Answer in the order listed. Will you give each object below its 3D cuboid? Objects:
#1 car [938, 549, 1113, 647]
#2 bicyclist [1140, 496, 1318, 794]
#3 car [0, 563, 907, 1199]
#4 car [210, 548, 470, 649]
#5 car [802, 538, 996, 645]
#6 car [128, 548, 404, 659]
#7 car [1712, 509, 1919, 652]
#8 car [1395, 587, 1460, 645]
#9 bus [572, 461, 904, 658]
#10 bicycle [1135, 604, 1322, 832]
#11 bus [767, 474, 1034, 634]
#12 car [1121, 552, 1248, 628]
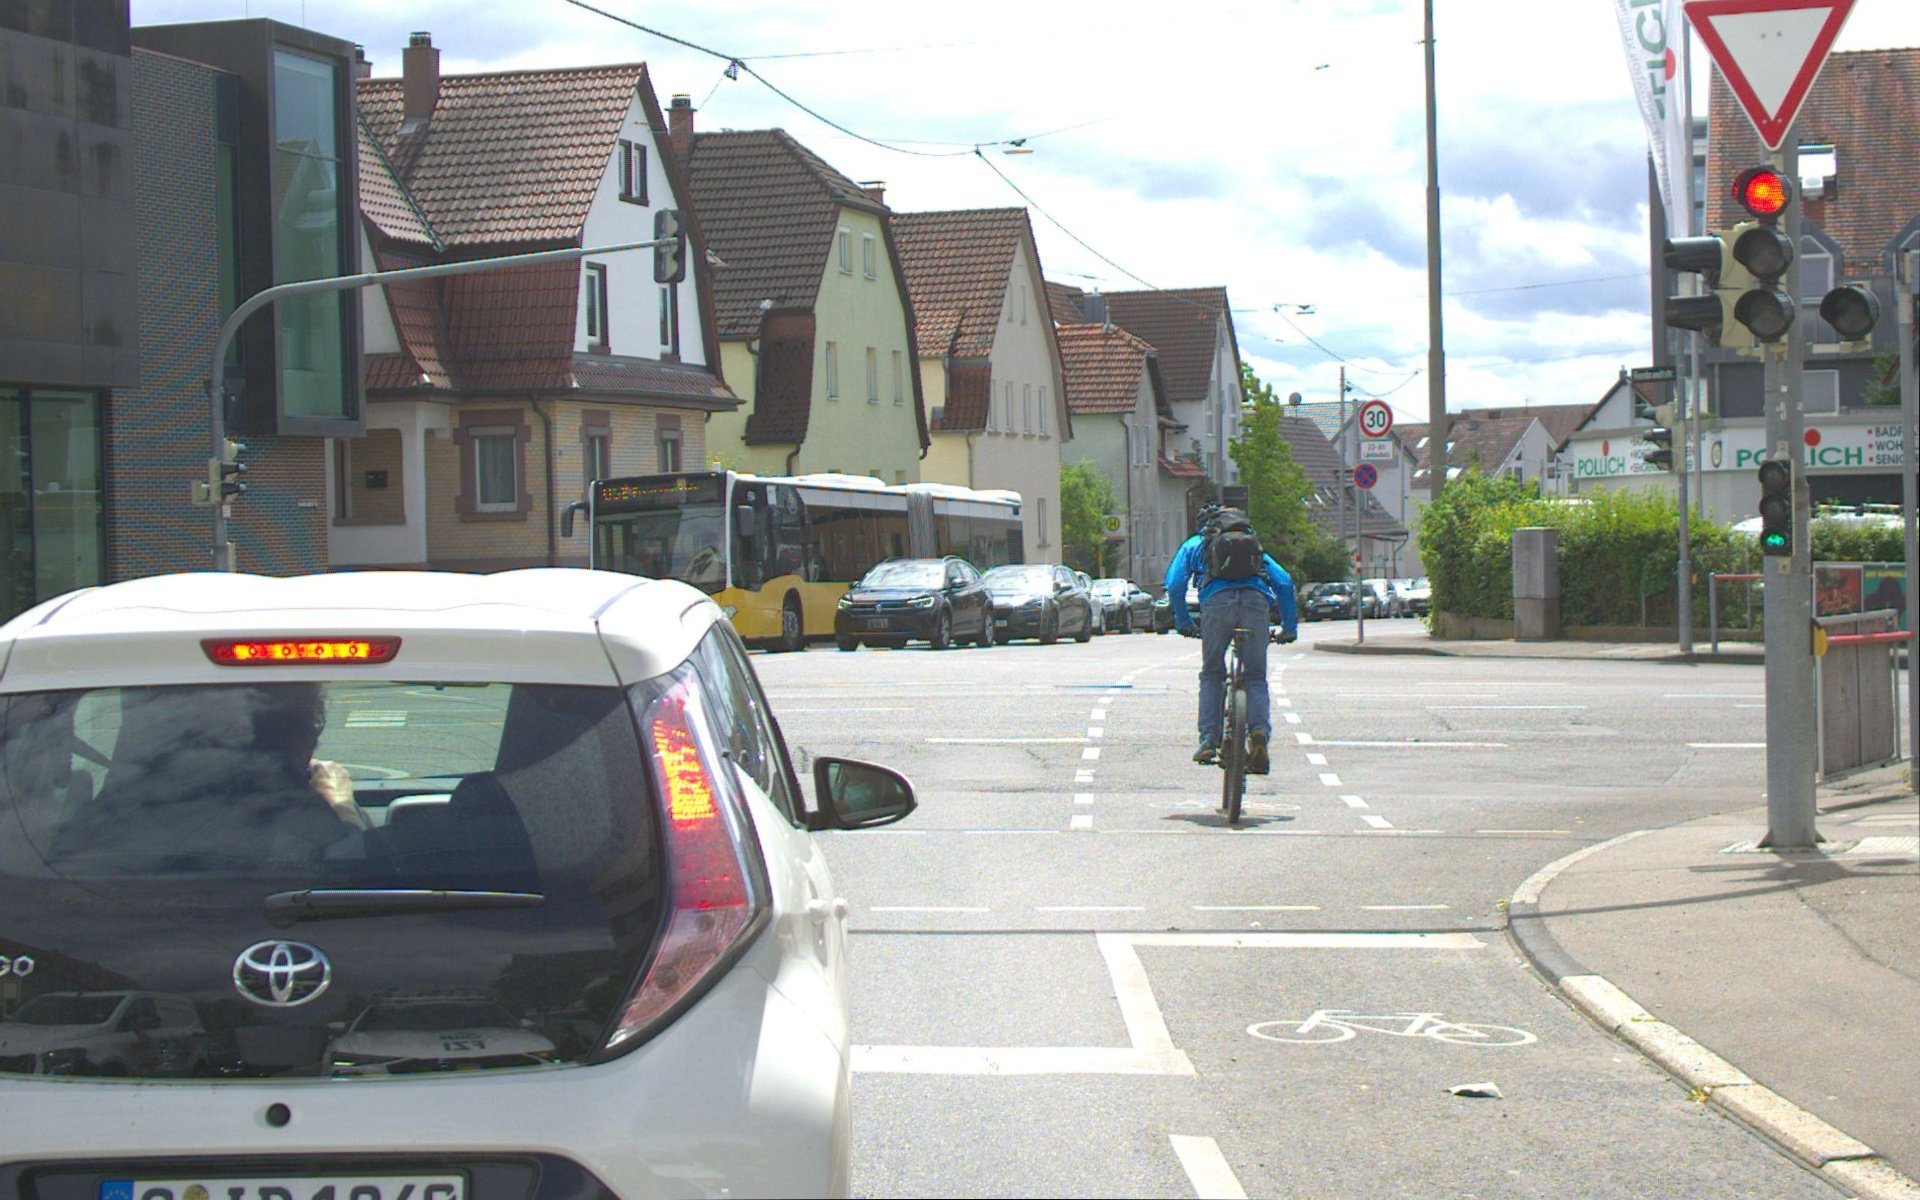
[{"bbox_3d":[1.196,-0.068,60.312,1.995,1.634,4.180,0,1,17],"label":"car"},{"bbox_3d":[1.508,0.238,19.457,0.840,1.609,1.083,2,1,-1],"label":"bicyclist"},{"bbox_3d":[-1.025,0.681,6.372,1.738,1.455,3.533,-1,1,-3],"label":"car"},{"bbox_3d":[-10.860,-0.034,60.290,3.989,1.678,1.999,-1,1,14],"label":"car"},{"bbox_3d":[-0.935,-0.170,55.290,1.995,1.634,3.997,0,1,17],"label":"car"},{"bbox_3d":[-11.565,0.037,57.397,3.989,1.634,1.999,3,2,13],"label":"car"},{"bbox_3d":[13.071,-0.296,49.348,3.986,2.007,2.001,0,1,-8],"label":"car"},{"bbox_3d":[17.023,0.576,125.048,1.995,2.007,3.998,0,1,13],"label":"car"},{"bbox_3d":[-3.545,-0.720,57.964,2.780,3.049,9.185,0,1,15],"label":"bus"},{"bbox_3d":[1.498,0.633,19.534,0.832,1.160,2.192,2,1,-1],"label":"bicycle"},{"bbox_3d":[-1.000,-0.930,67.171,2.780,2.904,9.185,0,1,15],"label":"bus"},{"bbox_3d":[5.099,-0.253,77.733,1.995,1.634,3.997,0,1,17],"label":"car"}]
